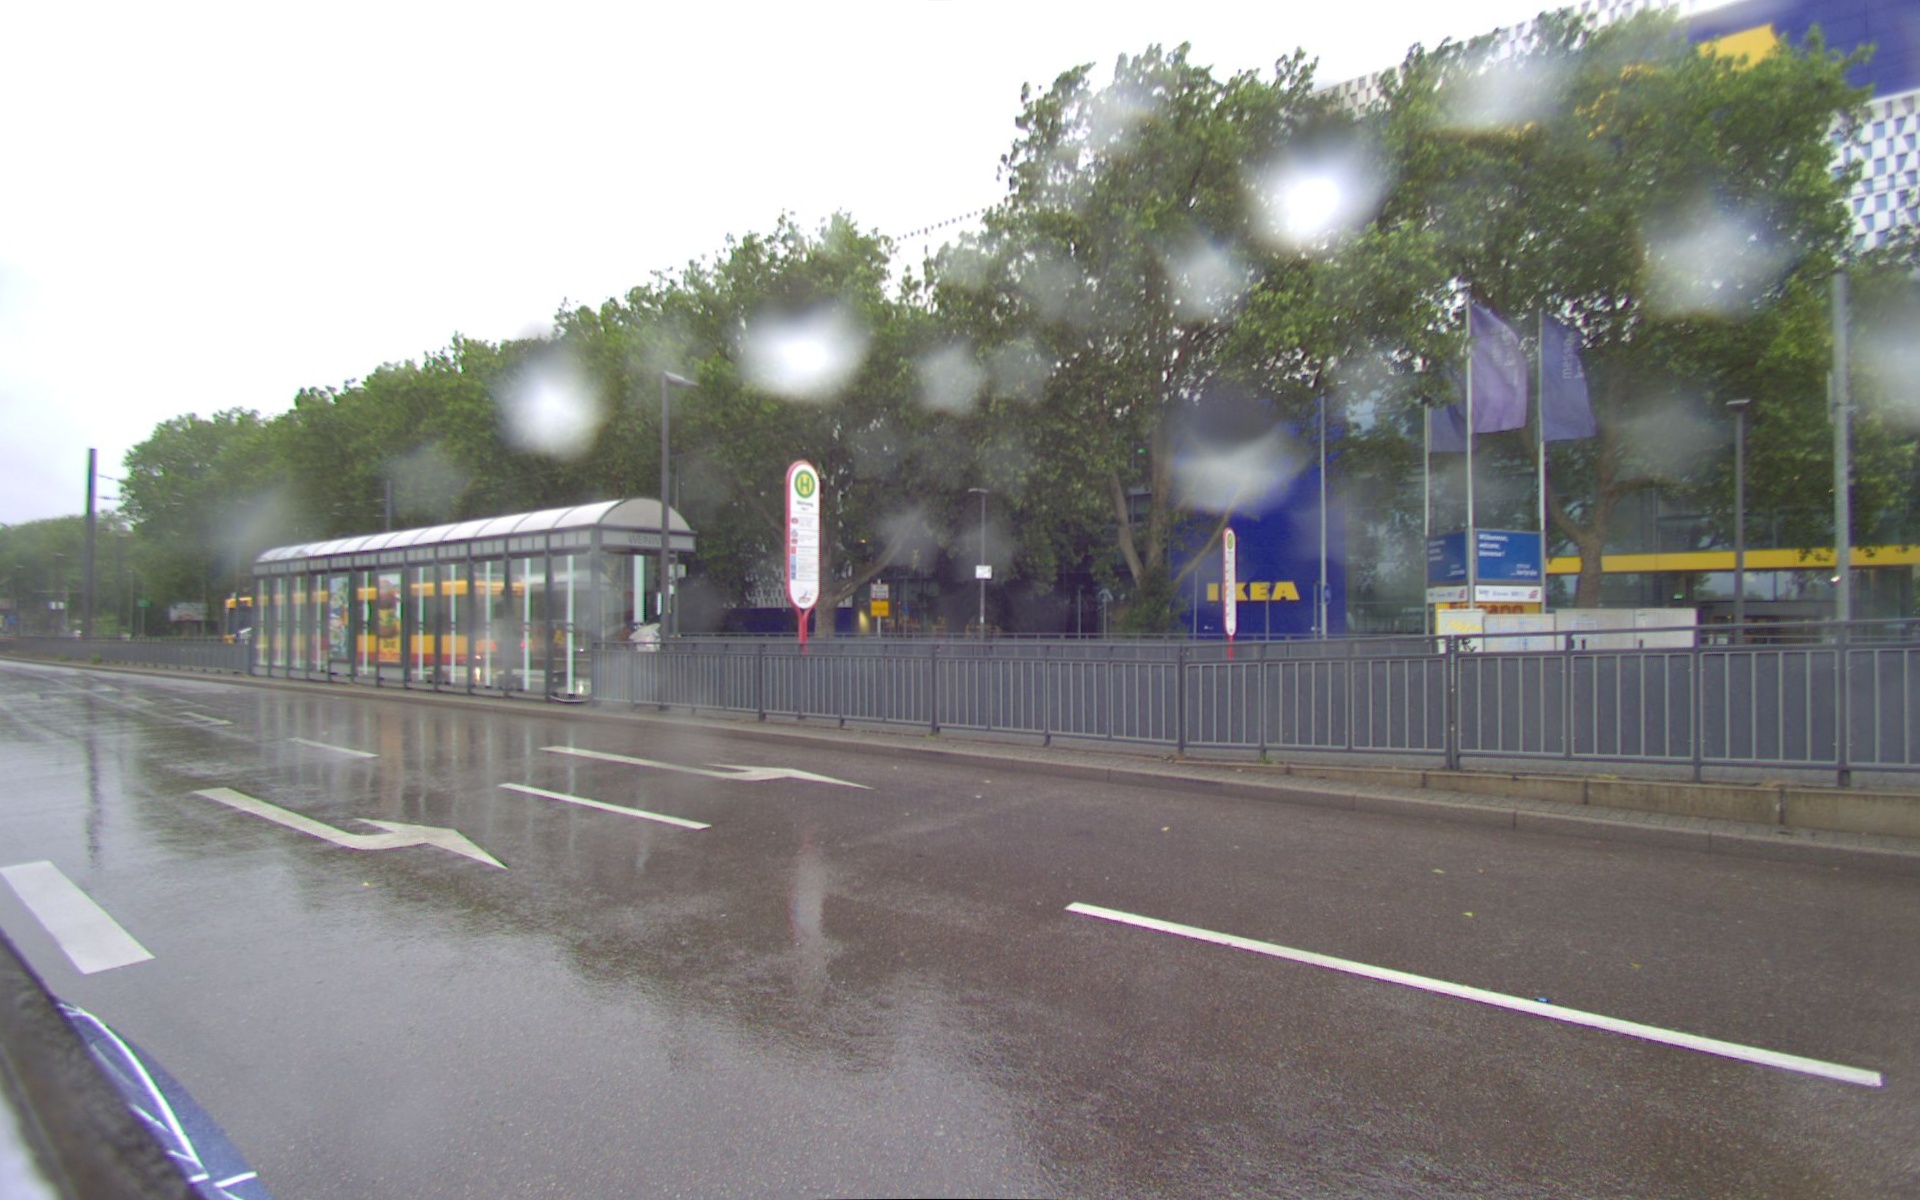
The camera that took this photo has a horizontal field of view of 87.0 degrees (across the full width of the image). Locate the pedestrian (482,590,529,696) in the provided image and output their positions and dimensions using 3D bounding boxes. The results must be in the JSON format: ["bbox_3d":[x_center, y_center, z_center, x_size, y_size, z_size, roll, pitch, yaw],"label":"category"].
[{"bbox_3d":[-8.327,0.769,18.524,0.646,1.885,0.774,-1,0,-33],"label":"pedestrian"}]

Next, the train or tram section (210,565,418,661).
[{"bbox_3d":[-30.332,0.603,46.925,15.560,3.827,3.703,-1,0,40],"label":"train or tram section"}]

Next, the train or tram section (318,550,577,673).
[{"bbox_3d":[-19.390,0.413,37.565,13.245,3.868,3.703,-1,0,40],"label":"train or tram section"}]

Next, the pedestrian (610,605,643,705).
[{"bbox_3d":[-5.156,0.839,15.649,0.317,1.504,0.416,-2,1,-44],"label":"pedestrian"}]
